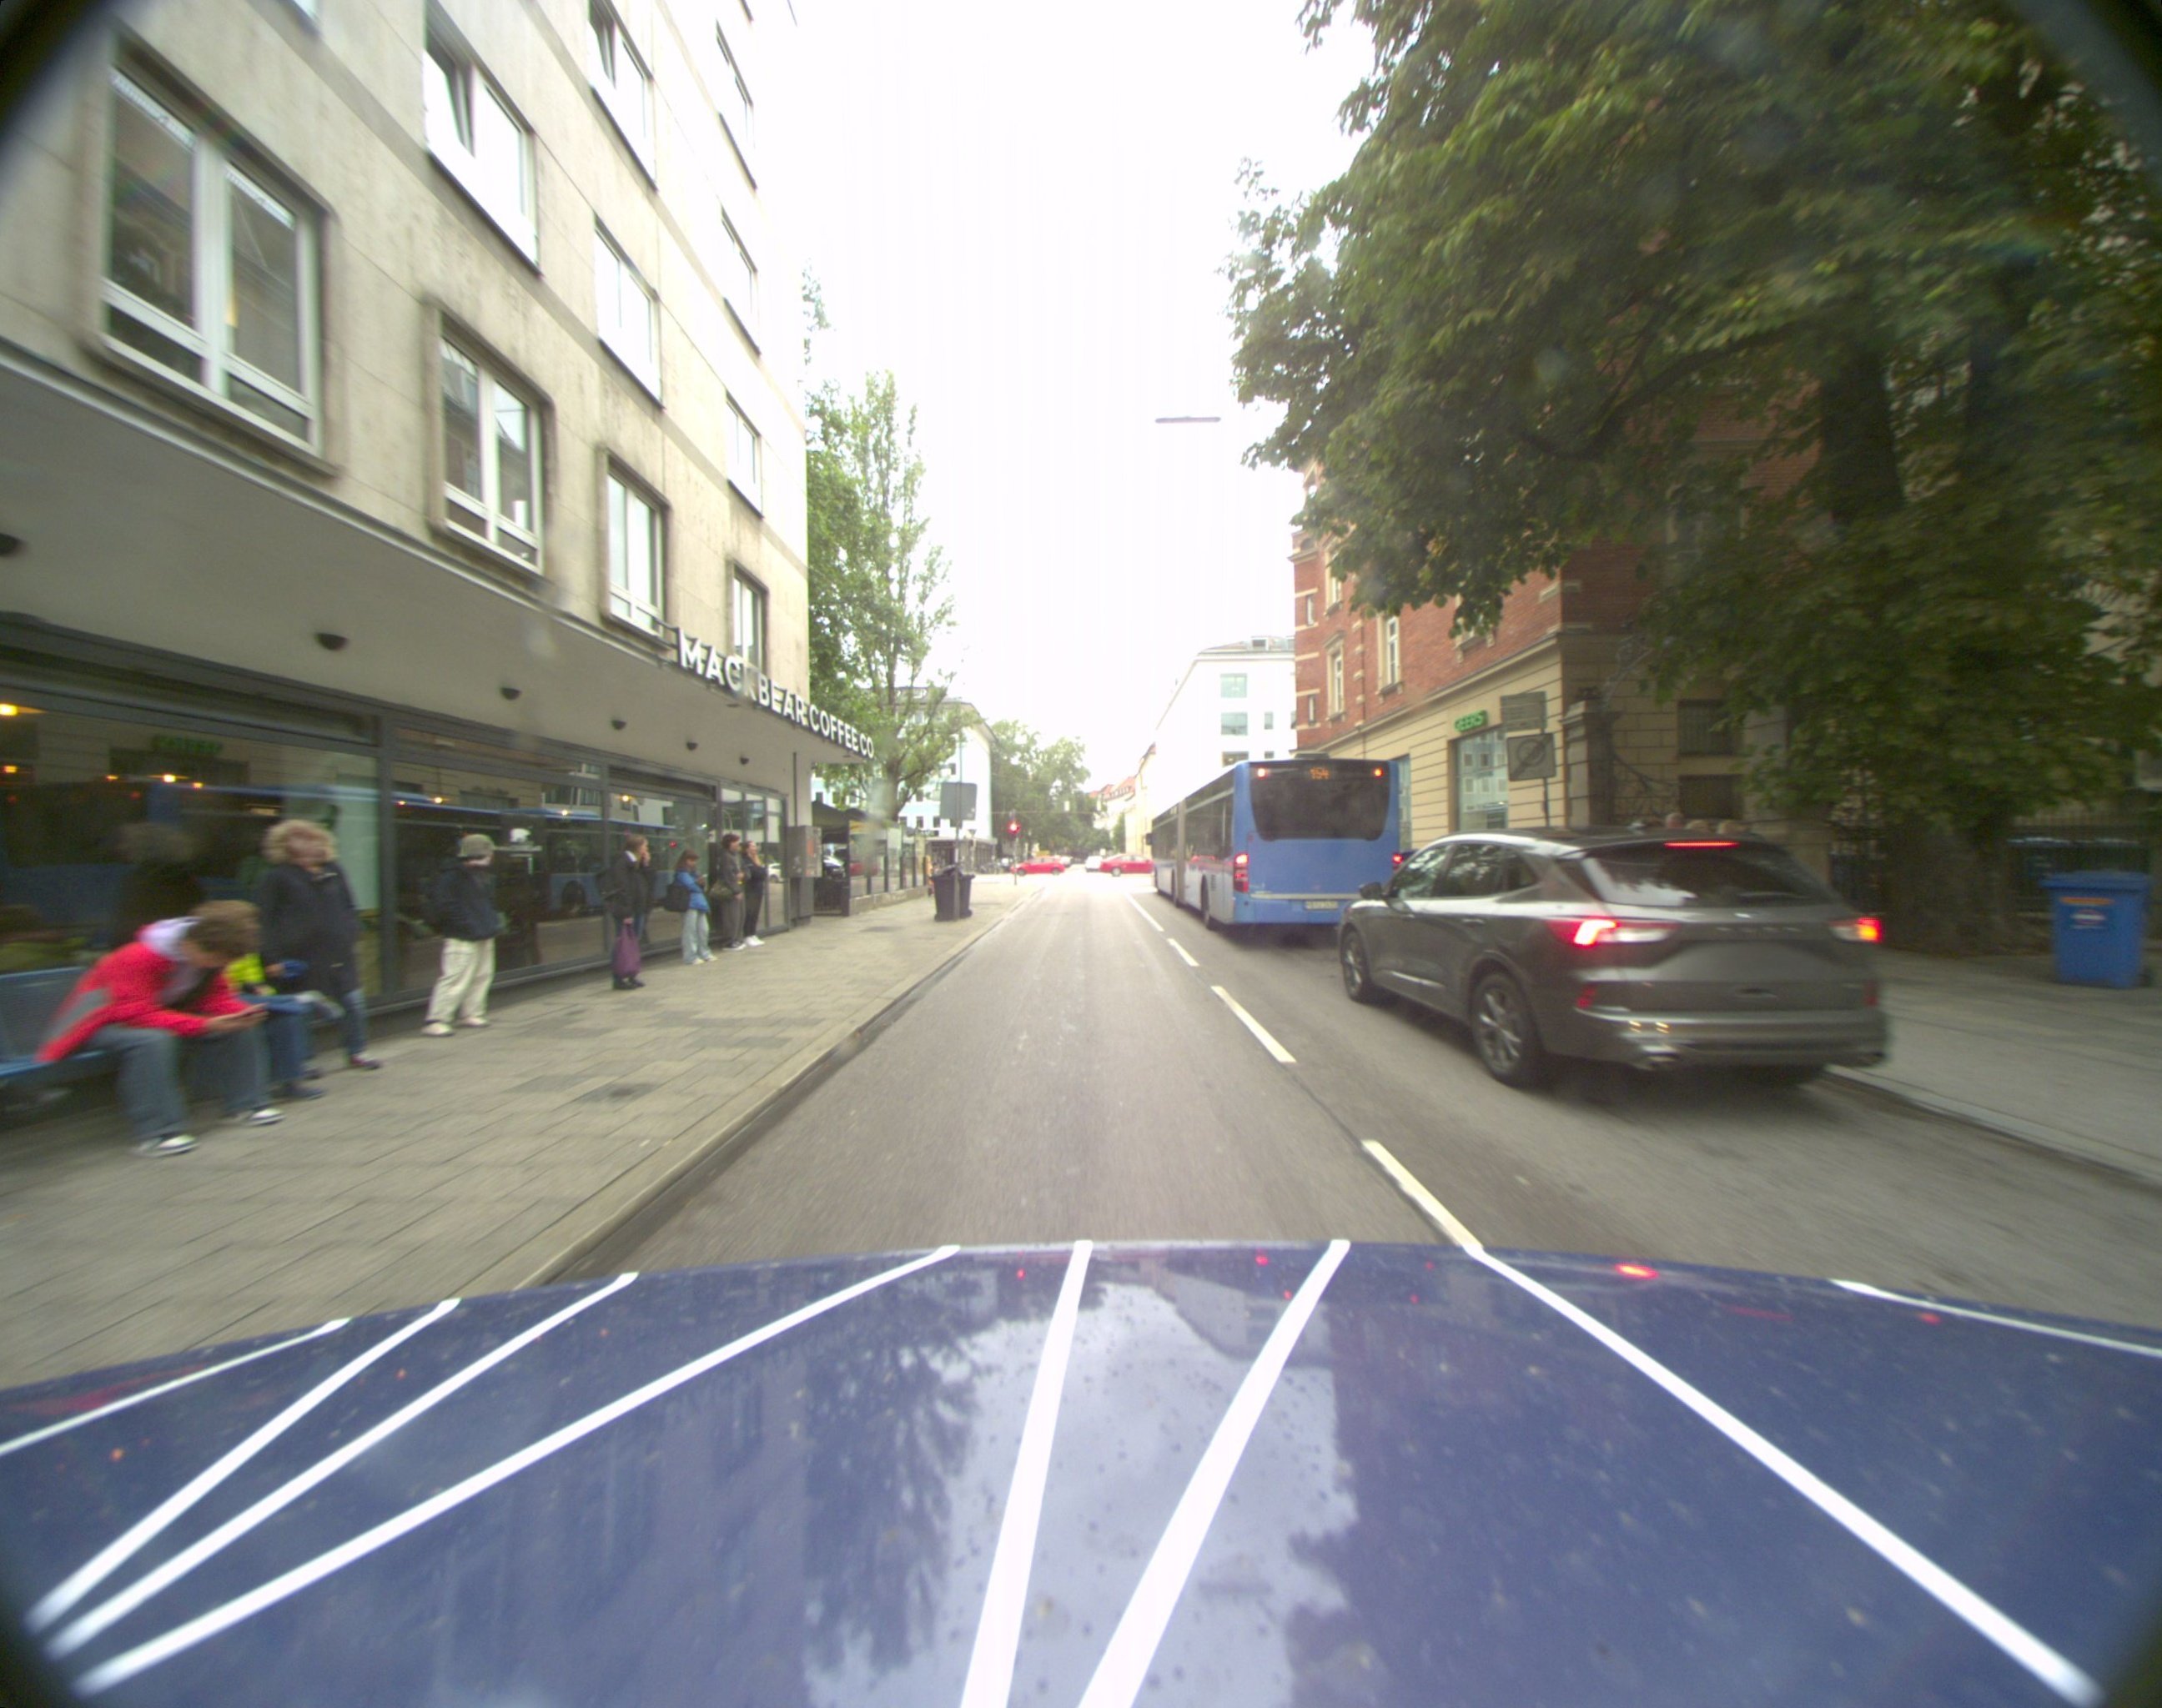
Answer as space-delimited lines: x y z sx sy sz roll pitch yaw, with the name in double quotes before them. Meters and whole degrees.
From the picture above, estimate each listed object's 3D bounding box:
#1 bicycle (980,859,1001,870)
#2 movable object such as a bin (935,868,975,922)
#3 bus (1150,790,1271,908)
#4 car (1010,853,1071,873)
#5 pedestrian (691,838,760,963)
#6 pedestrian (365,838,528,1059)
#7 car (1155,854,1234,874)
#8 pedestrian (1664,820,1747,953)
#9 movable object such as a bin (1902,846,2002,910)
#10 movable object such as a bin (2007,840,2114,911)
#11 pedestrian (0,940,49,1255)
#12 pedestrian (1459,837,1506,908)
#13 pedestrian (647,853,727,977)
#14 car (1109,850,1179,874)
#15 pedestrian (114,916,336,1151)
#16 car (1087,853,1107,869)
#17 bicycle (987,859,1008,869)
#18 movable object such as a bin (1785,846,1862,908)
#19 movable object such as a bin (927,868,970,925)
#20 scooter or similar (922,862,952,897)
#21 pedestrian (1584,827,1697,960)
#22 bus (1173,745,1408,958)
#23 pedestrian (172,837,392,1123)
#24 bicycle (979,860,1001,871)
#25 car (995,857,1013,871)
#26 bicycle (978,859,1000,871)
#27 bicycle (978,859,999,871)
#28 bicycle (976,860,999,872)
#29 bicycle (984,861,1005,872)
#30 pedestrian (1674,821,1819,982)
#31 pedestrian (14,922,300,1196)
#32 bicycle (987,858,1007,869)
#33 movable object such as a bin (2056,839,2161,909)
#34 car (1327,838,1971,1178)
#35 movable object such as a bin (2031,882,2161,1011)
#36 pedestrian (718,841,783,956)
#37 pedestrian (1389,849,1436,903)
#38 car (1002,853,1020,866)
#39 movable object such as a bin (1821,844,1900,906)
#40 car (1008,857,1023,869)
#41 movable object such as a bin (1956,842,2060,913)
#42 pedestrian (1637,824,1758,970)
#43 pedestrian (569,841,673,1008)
"bicycle" -9.245 1.095 77.397 2.124 1.110 0.629 -1 1 -9
"movable object such as a bin" -3.024 0.964 18.312 0.877 1.243 0.798 -1 1 -4
"bus" 3.823 -0.155 24.589 2.586 3.083 9.108 -1 0 2
"car" -2.956 0.640 56.208 4.355 1.420 2.000 -1 0 0
"pedestrian" -5.284 0.672 11.316 0.659 1.812 0.696 -1 1 1
"pedestrian" -5.237 0.739 6.324 0.659 1.723 0.778 -1 1 1
"car" 8.238 0.705 55.475 5.440 1.420 2.000 -1 0 0
"pedestrian" 8.606 0.423 10.506 0.784 1.735 0.877 0 1 33
"movable object such as a bin" 15.687 0.418 13.710 0.856 1.085 0.813 -2 1 5
"movable object such as a bin" 17.491 0.376 13.591 0.856 1.204 0.813 -2 1 5
"pedestrian" -4.833 0.976 2.810 1.099 1.230 0.668 -1 1 1
"pedestrian" 8.843 0.393 16.735 0.626 1.529 0.754 -1 1 -1
"pedestrian" -5.223 0.788 10.101 0.659 1.584 0.696 -1 1 1
"car" 3.991 0.508 48.630 4.355 1.420 2.000 -1 0 0
"pedestrian" -4.870 0.994 4.355 0.681 1.230 0.495 -1 1 1
"car" 1.559 0.684 76.779 1.927 1.608 4.000 -1 0 0
"bicycle" -8.876 1.058 80.875 2.124 1.110 0.629 -1 1 -9
"movable object such as a bin" 13.482 0.400 13.817 0.623 1.080 0.813 -2 1 5
"movable object such as a bin" -3.028 0.959 17.468 0.877 1.243 0.798 -1 1 -4
"scooter or similar" -5.225 0.909 27.599 0.563 1.234 1.445 -1 1 11
"pedestrian" 7.620 0.515 10.389 0.875 1.735 0.910 -1 1 0
"bus" 3.597 -0.049 15.569 2.586 3.083 8.923 -1 0 2
"pedestrian" -5.129 0.762 4.927 0.659 1.723 0.684 -1 1 1
"bicycle" -8.930 1.120 74.502 2.124 1.110 0.738 -1 1 -9
"car" -8.828 1.092 87.268 1.718 1.543 3.999 -1 0 -1
"bicycle" -9.278 1.100 76.369 2.124 1.110 0.629 -1 1 -9
"bicycle" -9.200 1.115 75.602 2.124 1.110 0.629 -1 1 -9
"bicycle" -9.054 1.117 73.559 2.124 1.110 0.738 -1 1 -9
"bicycle" -9.041 1.264 79.572 2.124 1.110 0.629 -1 1 -9
"pedestrian" 7.534 0.513 8.641 0.910 1.735 0.847 -1 1 0
"pedestrian" -4.623 0.990 3.848 0.709 1.230 0.585 -1 1 1
"bicycle" -8.996 1.019 81.670 2.124 1.110 0.629 -1 1 -9
"movable object such as a bin" 18.389 0.343 13.580 0.856 1.204 0.813 -2 1 5
"car" 3.439 0.740 5.815 1.772 1.635 4.273 -1 0 1
"movable object such as a bin" 9.557 0.829 7.034 0.813 1.080 0.623 -2 1 -8
"pedestrian" -5.234 0.686 12.085 0.659 1.773 0.771 -1 1 1
"pedestrian" 8.311 0.539 19.061 0.830 1.333 0.754 -1 1 -1
"car" -8.491 0.686 92.415 1.718 1.543 3.999 -1 0 -1
"movable object such as a bin" 14.177 0.376 13.836 0.623 1.080 0.813 -2 1 5
"car" -8.468 1.121 98.535 1.718 1.543 3.999 -1 0 -1
"movable object such as a bin" 16.599 0.409 13.636 0.856 1.204 0.813 -2 1 5
"pedestrian" 7.681 0.515 9.499 0.875 1.735 0.786 -1 1 0
"pedestrian" -4.961 0.732 8.230 0.659 1.723 0.696 -1 1 1
